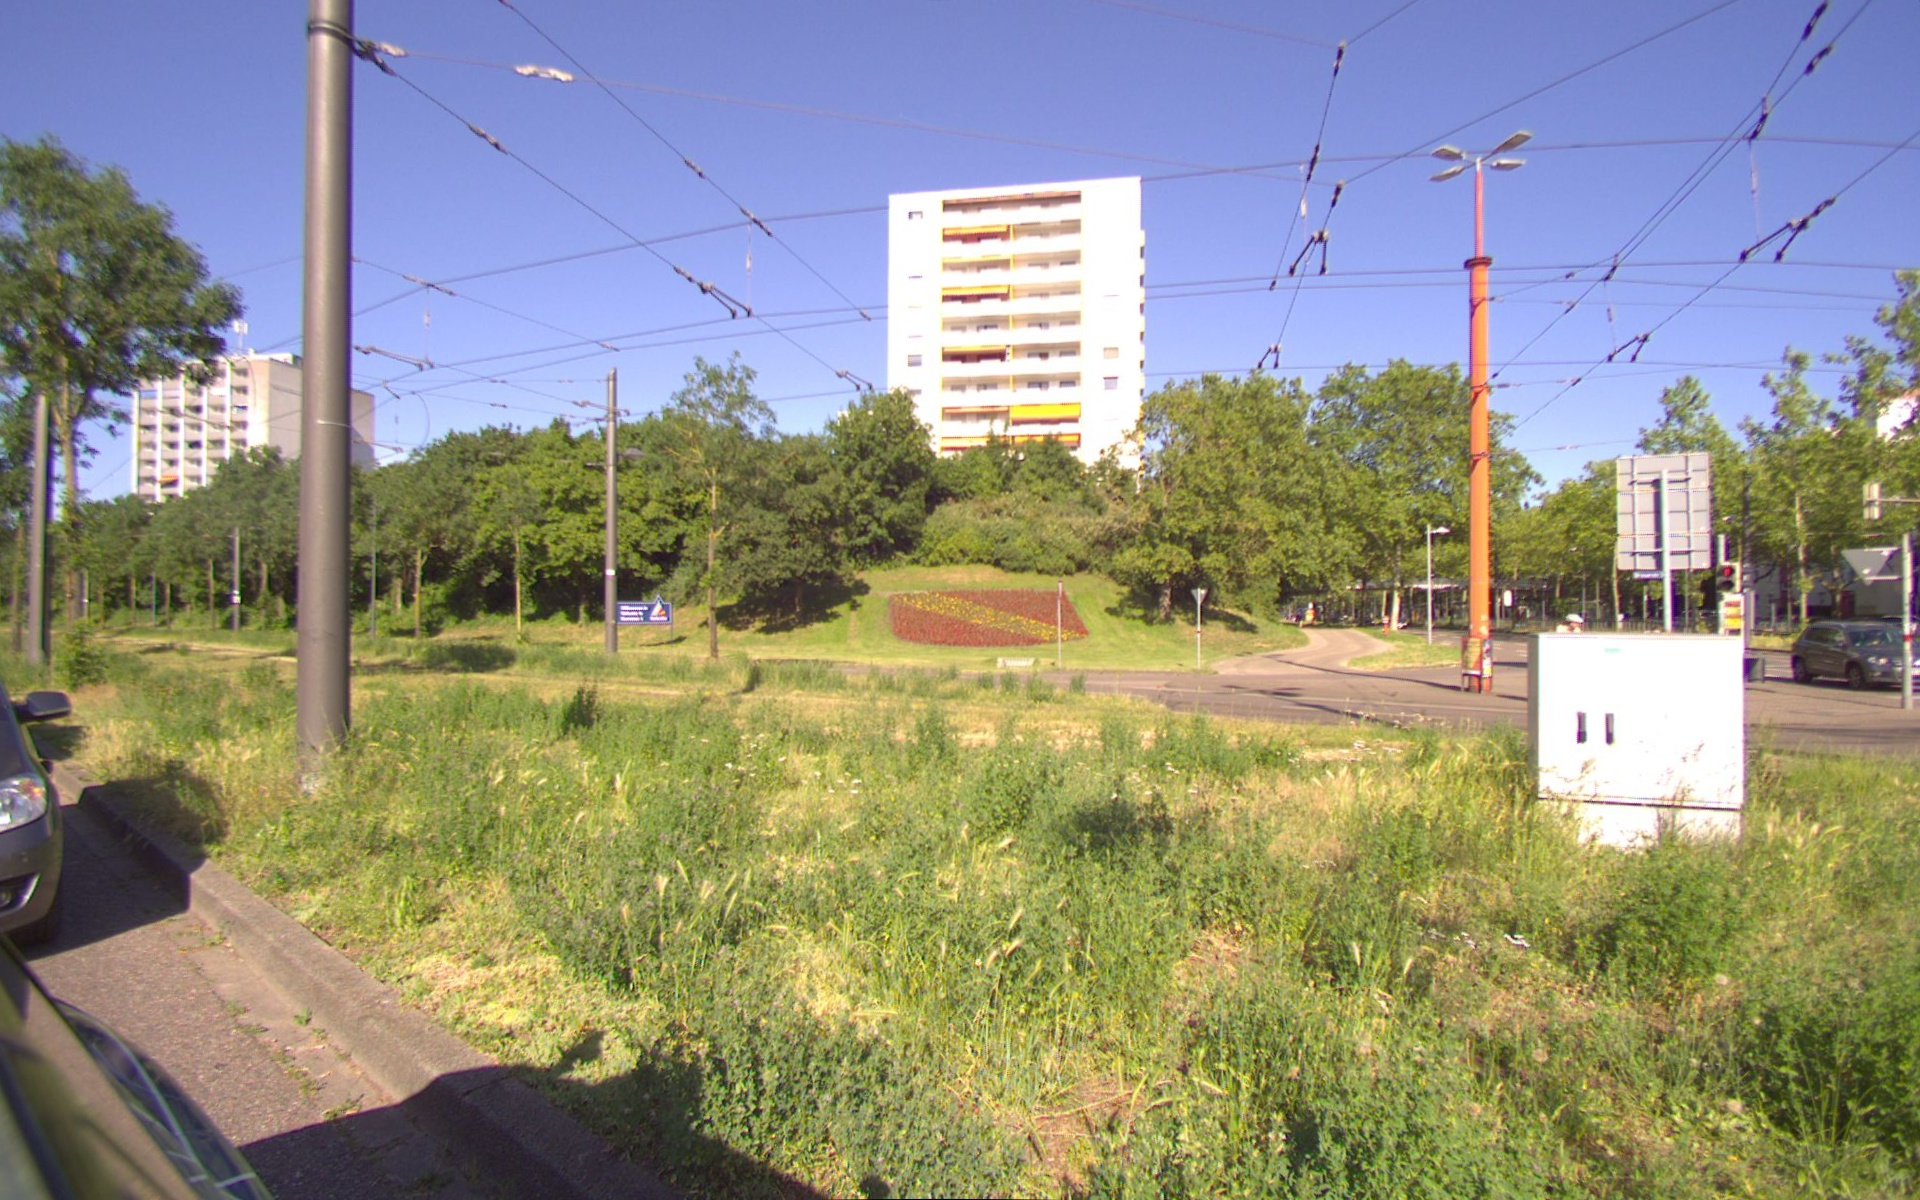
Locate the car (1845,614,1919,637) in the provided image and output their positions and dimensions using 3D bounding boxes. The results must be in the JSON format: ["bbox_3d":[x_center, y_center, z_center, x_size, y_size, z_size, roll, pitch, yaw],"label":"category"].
[{"bbox_3d":[63.801,1.732,69.994,1.589,1.471,3.656,-1,0,-38],"label":"car"}]

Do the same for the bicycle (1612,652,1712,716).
[{"bbox_3d":[13.505,1.591,19.535,0.571,1.079,1.916,-1,0,0],"label":"bicycle"}]

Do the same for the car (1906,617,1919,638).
[{"bbox_3d":[63.686,1.765,65.162,1.472,1.341,3.746,-1,0,-27],"label":"car"}]

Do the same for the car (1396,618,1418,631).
[{"bbox_3d":[50.592,2.753,114.514,1.903,1.507,3.975,-1,-1,19],"label":"car"}]

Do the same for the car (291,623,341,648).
[{"bbox_3d":[-38.900,2.136,61.080,3.908,1.431,1.557,-2,-1,42],"label":"car"}]

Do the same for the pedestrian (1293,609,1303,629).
[{"bbox_3d":[27.050,1.533,81.005,0.682,1.568,0.984,-1,-1,21],"label":"pedestrian"}]

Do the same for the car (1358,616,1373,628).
[{"bbox_3d":[56.997,3.119,142.278,1.904,1.507,3.973,-1,0,20],"label":"car"}]

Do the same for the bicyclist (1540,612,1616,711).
[{"bbox_3d":[12.116,1.188,19.870,0.880,1.881,0.924,-1,0,-2],"label":"bicyclist"}]

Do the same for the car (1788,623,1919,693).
[{"bbox_3d":[23.016,1.387,25.415,1.900,1.507,4.026,-1,0,15],"label":"car"}]

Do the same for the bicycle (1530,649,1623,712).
[{"bbox_3d":[12.070,1.544,19.887,0.571,1.079,1.917,-1,0,-3],"label":"bicycle"}]

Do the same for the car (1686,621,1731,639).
[{"bbox_3d":[64.841,2.606,87.696,1.822,1.514,3.930,0,-2,15],"label":"car"}]

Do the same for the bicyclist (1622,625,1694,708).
[{"bbox_3d":[13.492,1.261,19.584,0.710,1.536,0.924,-1,0,0],"label":"bicyclist"}]

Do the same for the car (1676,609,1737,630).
[{"bbox_3d":[72.141,1.926,97.871,1.909,1.999,4.350,1,-2,-38],"label":"car"}]

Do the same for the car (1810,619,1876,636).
[{"bbox_3d":[64.405,1.977,73.845,1.425,1.197,3.423,-1,0,-41],"label":"car"}]

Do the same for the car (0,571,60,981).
[{"bbox_3d":[-5.823,0.751,4.887,3.998,1.652,1.726,-1,0,41],"label":"car"}]
